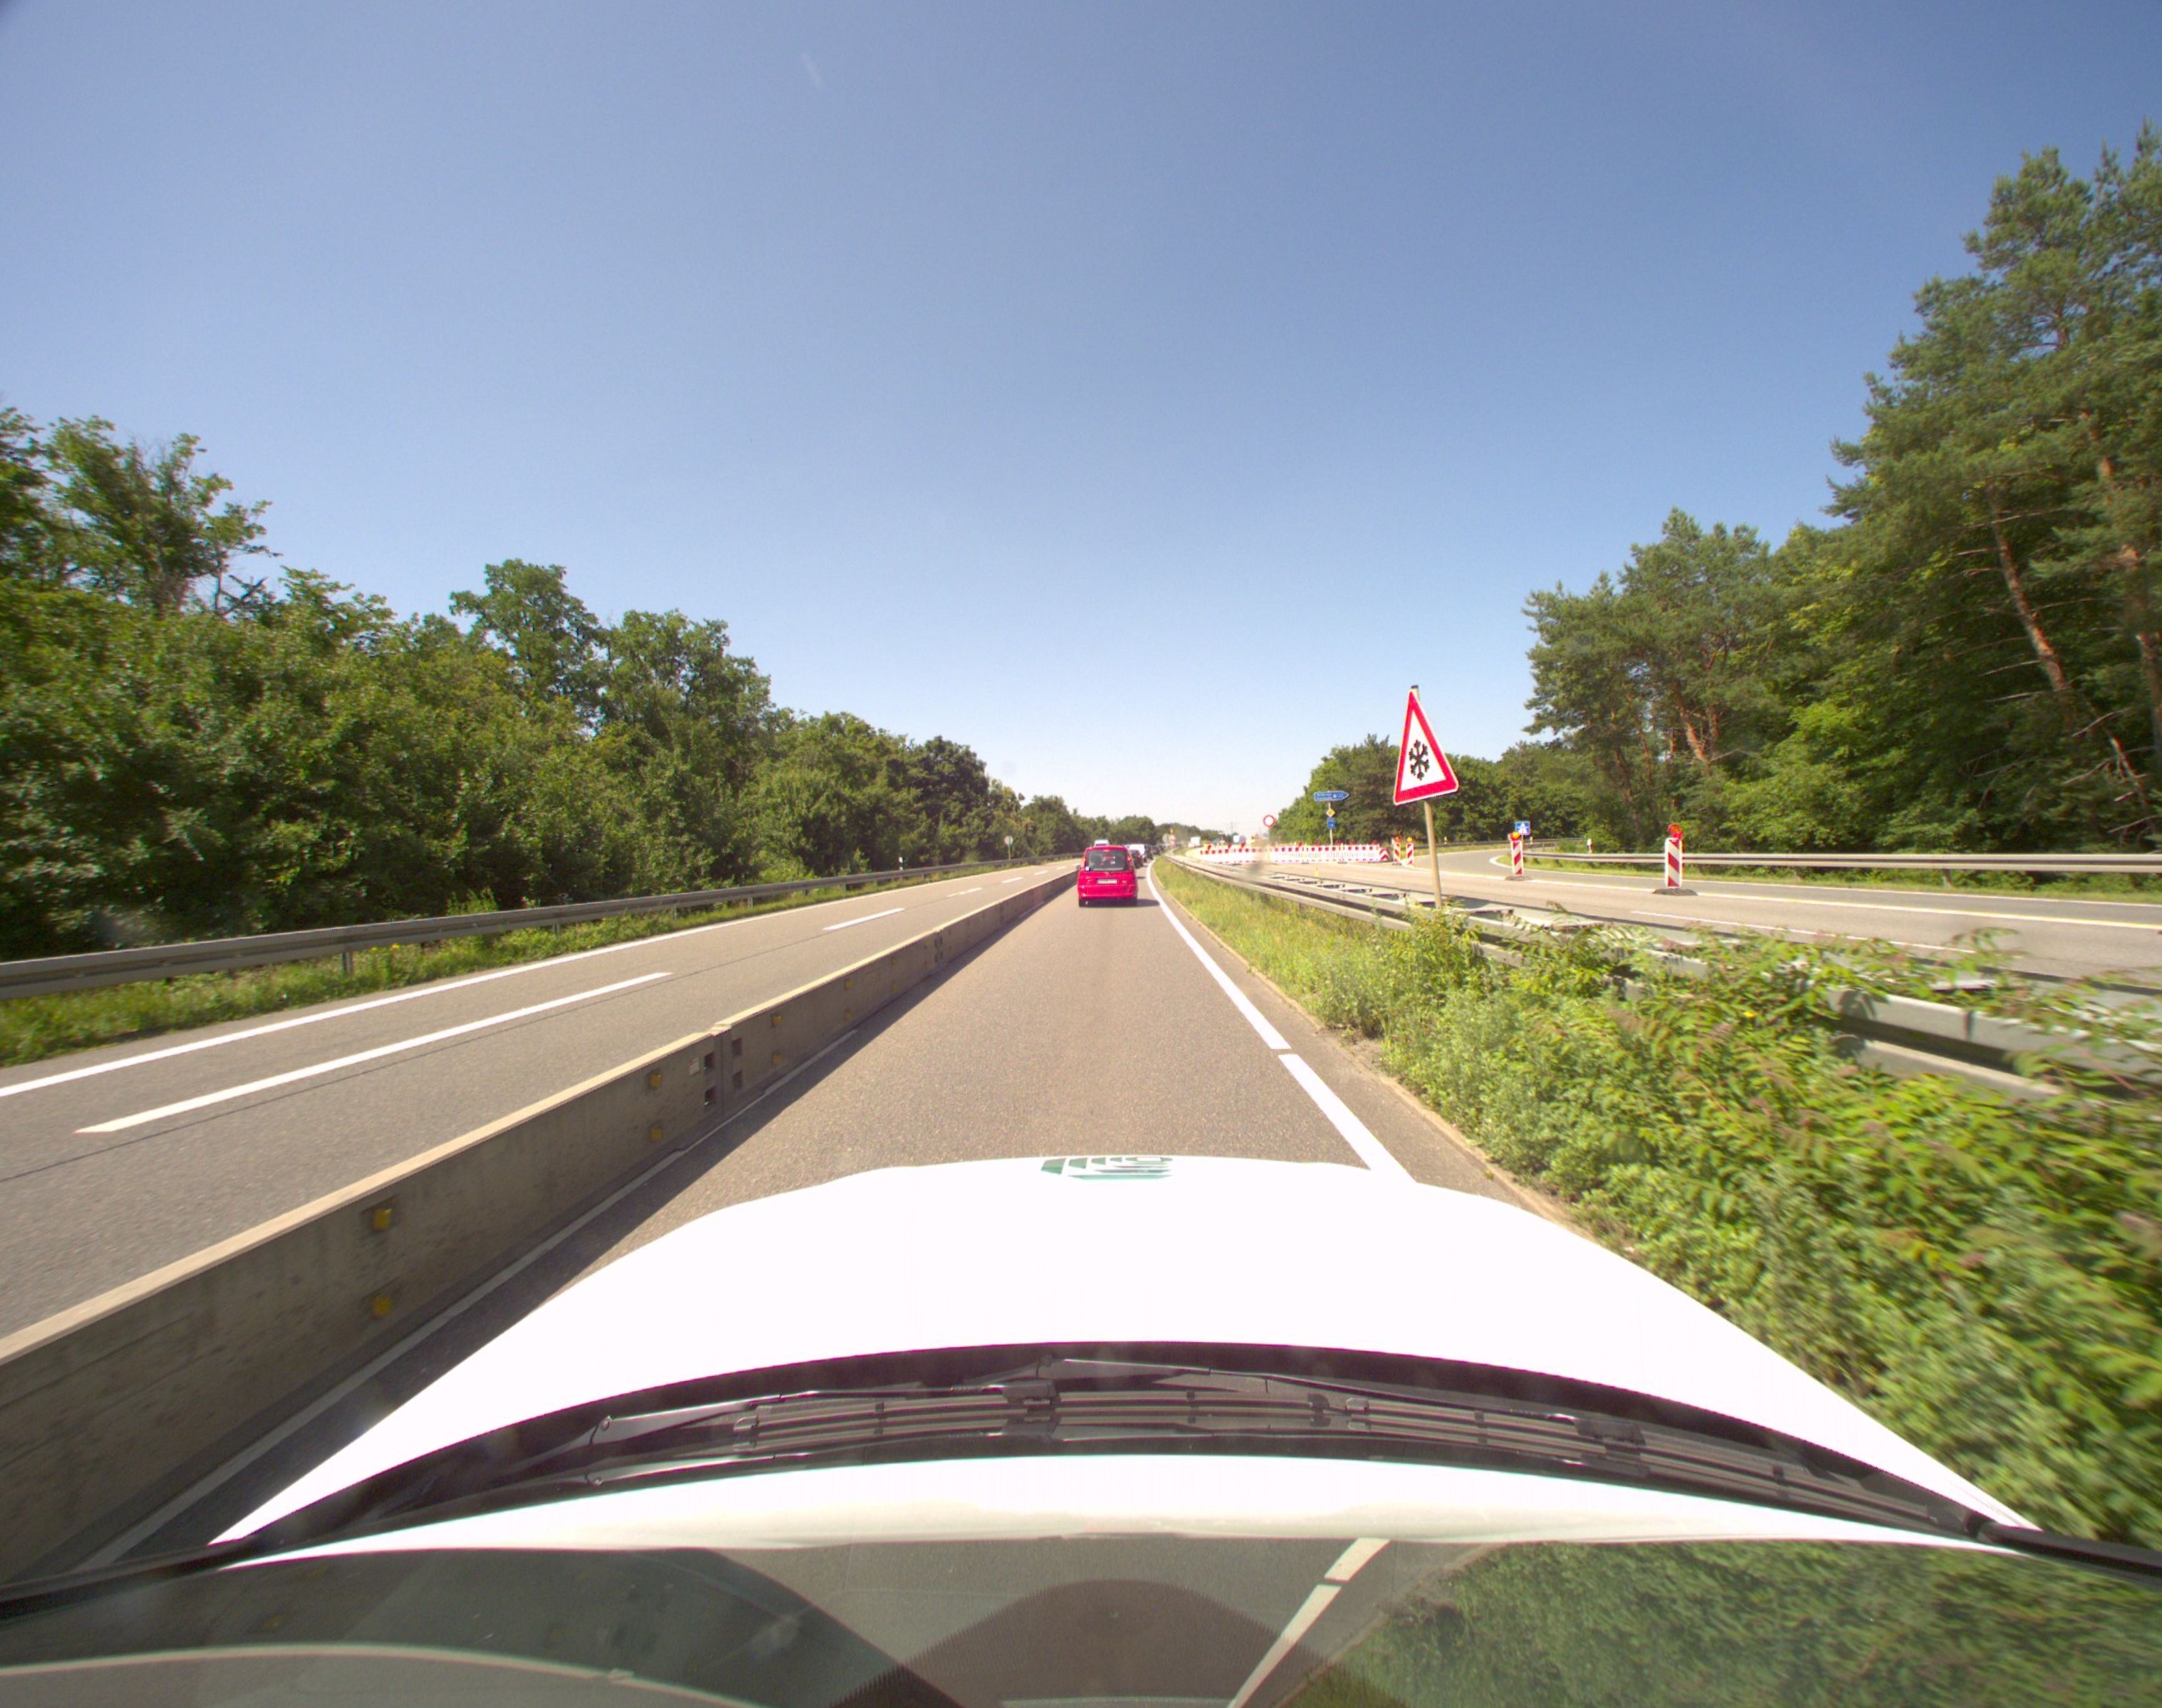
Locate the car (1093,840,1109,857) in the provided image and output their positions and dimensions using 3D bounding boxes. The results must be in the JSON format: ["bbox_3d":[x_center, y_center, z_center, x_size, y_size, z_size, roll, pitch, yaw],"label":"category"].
[{"bbox_3d":[2.954,-0.781,119.143,2.053,2.485,5.564,-1,0,3],"label":"car"}]

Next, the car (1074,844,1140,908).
[{"bbox_3d":[0.731,0.570,23.591,1.745,1.673,4.001,-1,0,1],"label":"car"}]

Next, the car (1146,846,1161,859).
[{"bbox_3d":[10.875,-0.226,122.039,1.986,1.783,4.002,-2,0,2],"label":"car"}]

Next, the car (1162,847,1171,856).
[{"bbox_3d":[16.353,-0.437,155.678,1.493,1.736,3.178,-2,0,9],"label":"car"}]

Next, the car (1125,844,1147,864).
[{"bbox_3d":[5.575,-0.008,82.892,1.986,2.003,4.002,-2,0,2],"label":"car"}]

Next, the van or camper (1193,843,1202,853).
[{"bbox_3d":[33.918,-1.777,237.140,2.315,2.706,4.602,-2,0,7],"label":"van or camper"}]

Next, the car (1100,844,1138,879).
[{"bbox_3d":[2.014,0.368,43.075,1.823,1.722,4.003,-2,0,3],"label":"car"}]

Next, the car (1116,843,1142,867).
[{"bbox_3d":[3.990,0.097,67.085,1.984,1.838,4.006,-2,0,5],"label":"car"}]

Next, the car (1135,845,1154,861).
[{"bbox_3d":[7.426,-0.073,95.403,1.986,1.750,4.002,-2,0,2],"label":"car"}]
